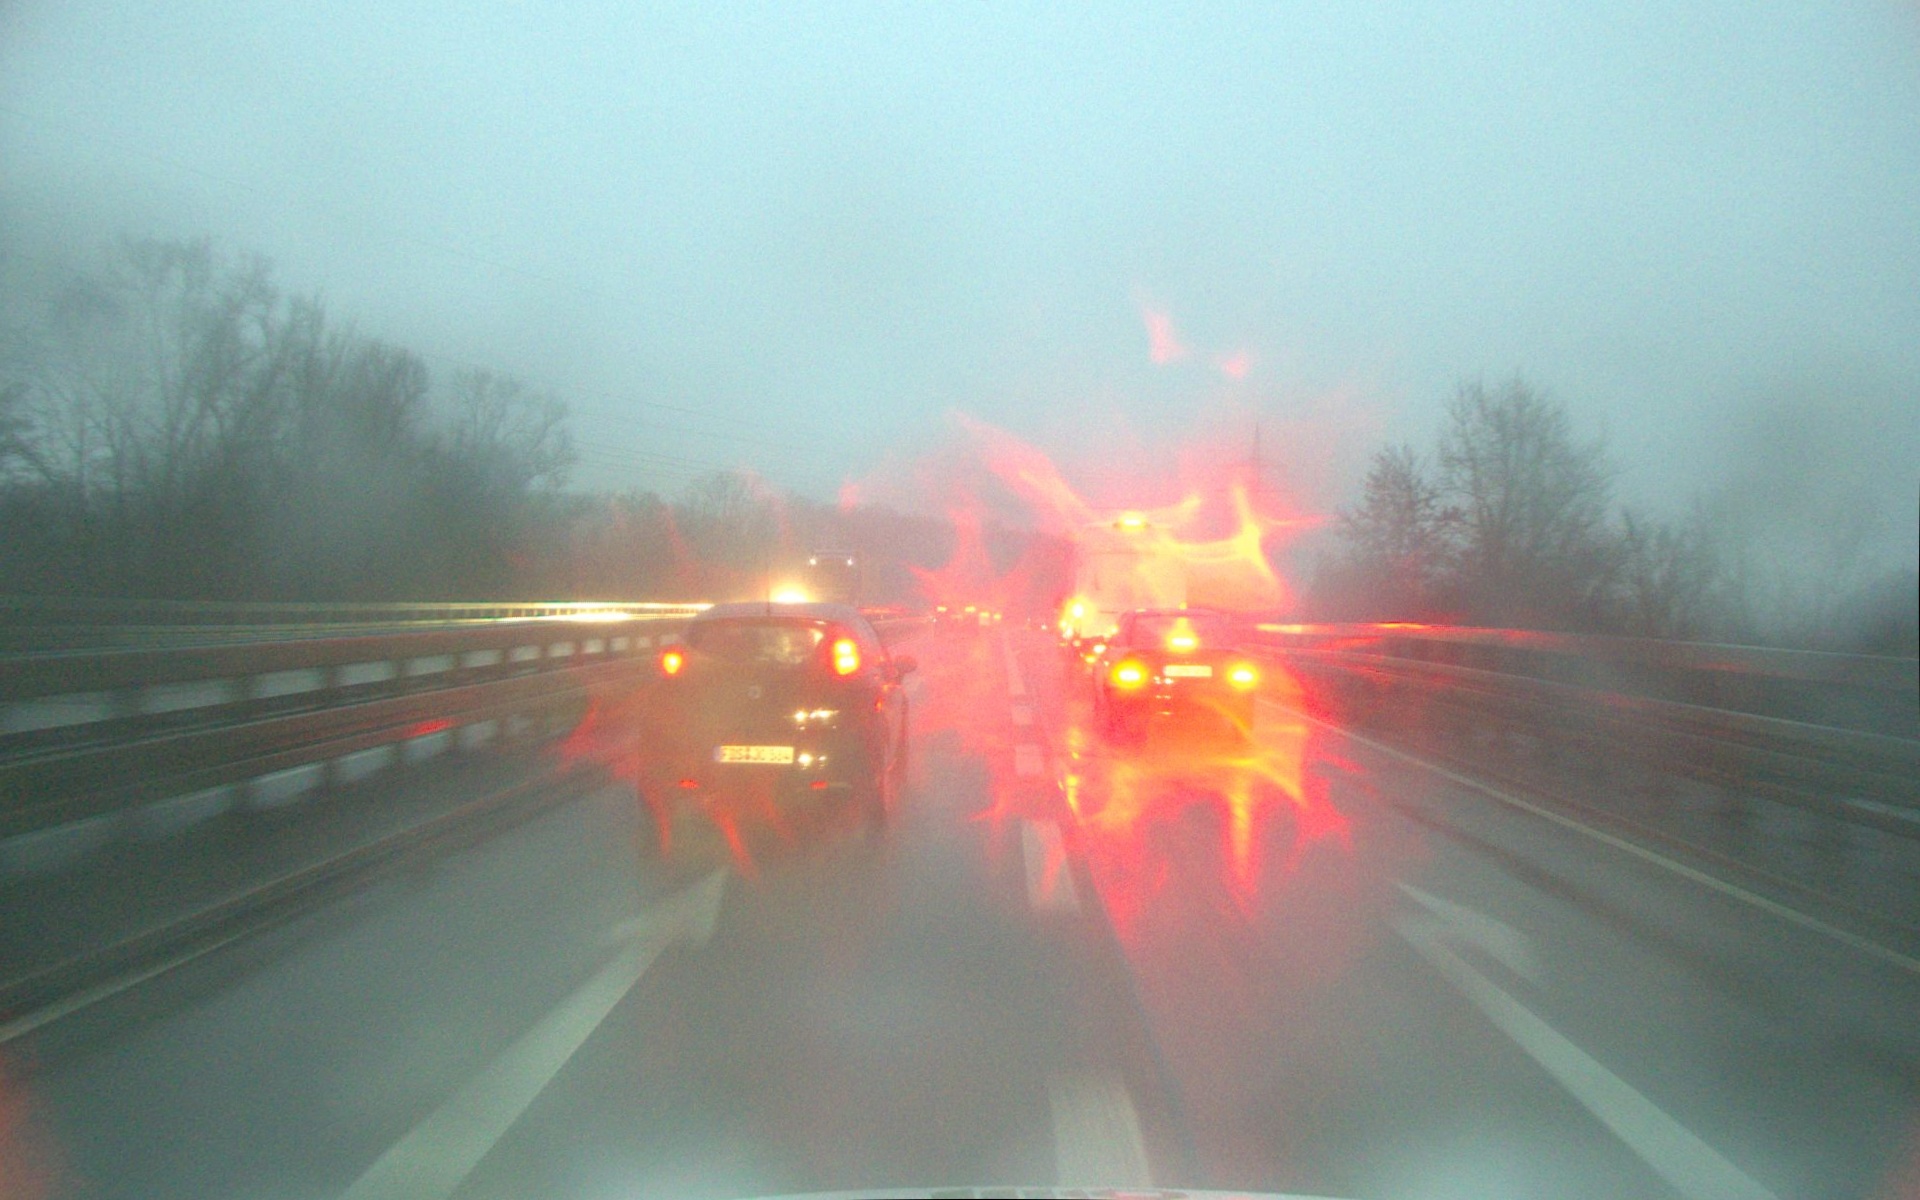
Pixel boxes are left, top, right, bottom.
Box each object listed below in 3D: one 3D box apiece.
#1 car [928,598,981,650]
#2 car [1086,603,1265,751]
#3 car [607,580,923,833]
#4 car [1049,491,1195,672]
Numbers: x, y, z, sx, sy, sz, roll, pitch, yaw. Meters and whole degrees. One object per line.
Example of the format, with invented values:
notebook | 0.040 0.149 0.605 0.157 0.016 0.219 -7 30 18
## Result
car | -0.197 0.913 65.973 1.953 1.846 4.000 3 1 0
car | 2.449 0.817 19.682 1.700 1.439 4.379 3 0 3
car | -1.255 0.694 12.283 1.694 1.559 4.043 0 -1 2
car | 2.866 -0.281 30.695 2.234 3.018 6.391 0 -1 1
